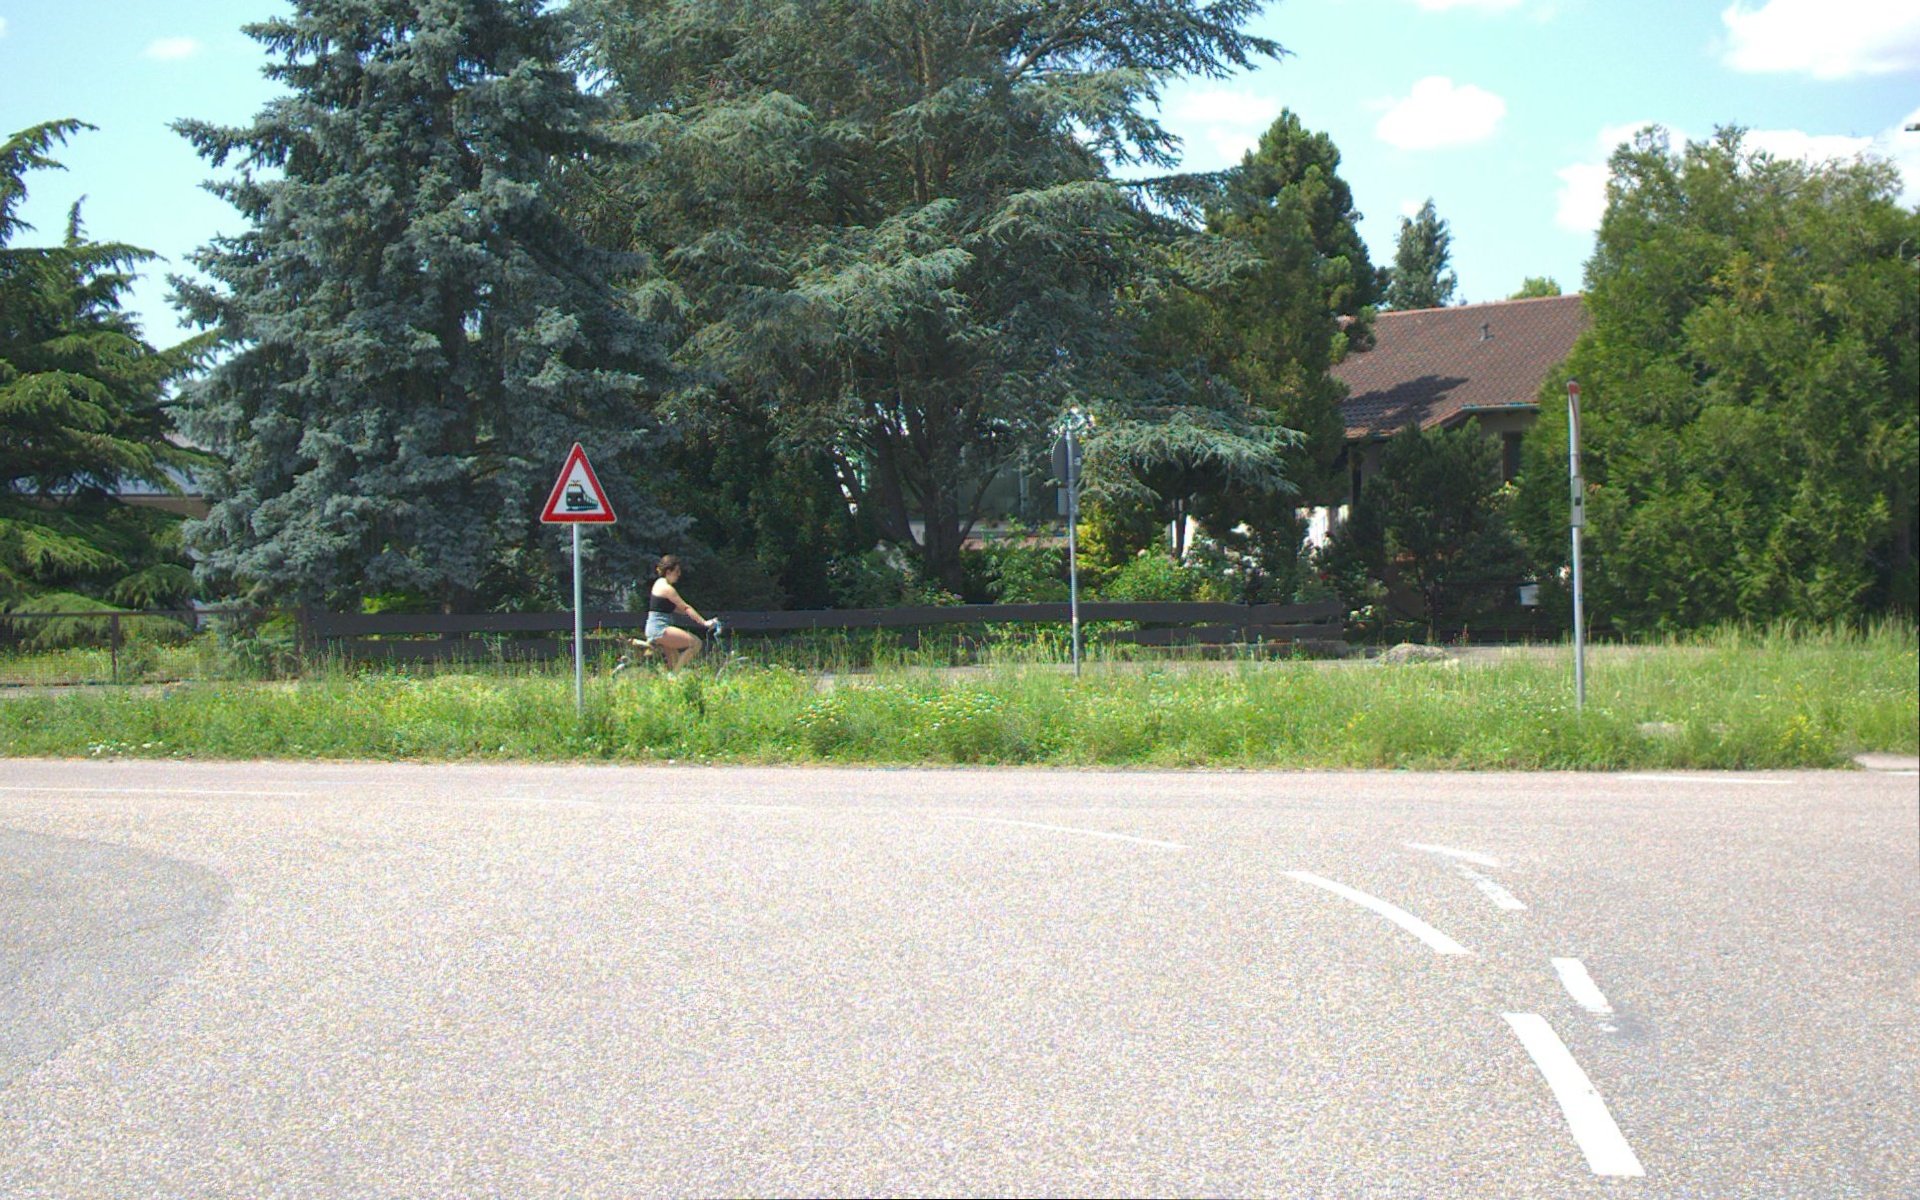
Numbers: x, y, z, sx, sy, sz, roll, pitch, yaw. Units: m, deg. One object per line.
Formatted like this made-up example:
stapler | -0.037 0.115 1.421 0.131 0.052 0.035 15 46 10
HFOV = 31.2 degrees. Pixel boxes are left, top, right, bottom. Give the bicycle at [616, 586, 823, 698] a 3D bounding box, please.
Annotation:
bicycle | -2.588 0.442 36.977 2.139 1.161 0.661 -1 1 -12

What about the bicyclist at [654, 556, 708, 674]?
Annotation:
bicyclist | -2.994 0.158 36.872 0.510 1.251 0.469 -1 0 -12
